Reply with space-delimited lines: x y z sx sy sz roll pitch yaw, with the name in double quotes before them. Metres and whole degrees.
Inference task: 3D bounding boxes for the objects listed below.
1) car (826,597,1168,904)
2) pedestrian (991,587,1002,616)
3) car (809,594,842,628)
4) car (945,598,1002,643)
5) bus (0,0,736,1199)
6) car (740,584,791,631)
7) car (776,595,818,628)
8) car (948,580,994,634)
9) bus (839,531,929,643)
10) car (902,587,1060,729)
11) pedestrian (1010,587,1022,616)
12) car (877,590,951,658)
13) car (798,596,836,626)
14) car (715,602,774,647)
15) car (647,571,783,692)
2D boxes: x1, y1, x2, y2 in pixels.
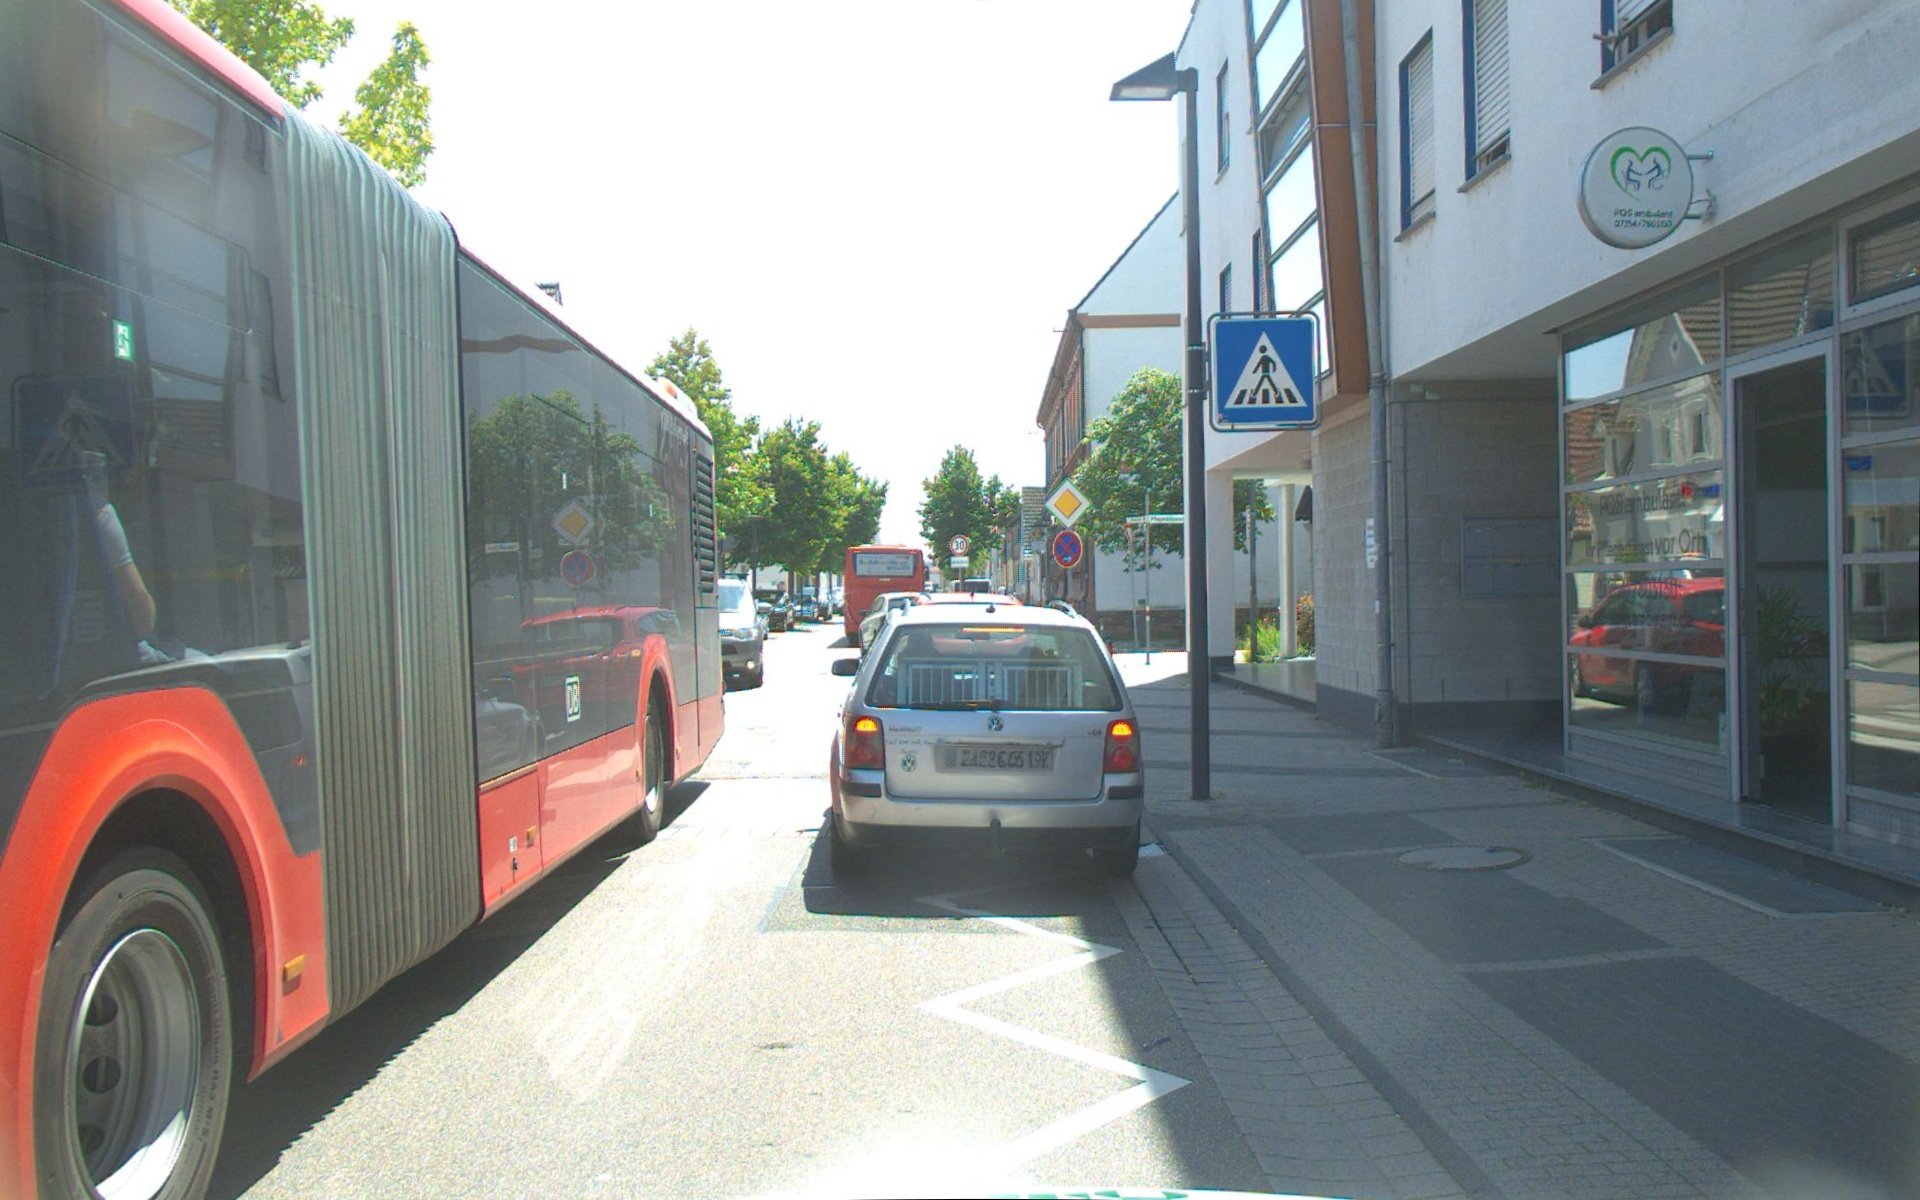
"car" 0.156 0.731 9.889 1.643 1.455 3.679 1 0 -1
"pedestrian" 2.225 0.077 99.873 0.594 1.696 0.789 -1 0 -2
"car" -8.348 0.644 103.190 1.775 2.030 3.999 -1 0 -1
"car" 0.401 0.636 52.978 1.684 1.332 3.625 -1 0 -1
"bus" -3.045 -0.085 4.972 2.615 3.178 17.802 -1 0 -1
"car" -8.135 0.312 69.354 1.729 1.870 3.788 -1 0 -1
"car" -8.273 0.560 84.212 1.775 1.586 3.999 -1 0 -1
"car" 0.437 0.276 68.476 1.751 2.118 3.625 -1 0 -1
"bus" -2.646 -0.393 56.517 2.685 3.356 12.696 -1 0 -3
"car" 0.195 0.609 19.322 1.643 1.455 3.679 -1 0 -1
"pedestrian" 3.378 0.091 99.871 0.594 1.696 0.789 -1 0 -2
"car" -0.999 0.510 37.337 1.561 1.455 3.679 0 0 0
"car" -7.810 0.578 90.812 1.775 1.586 3.999 -1 0 -1
"car" -7.539 0.831 58.059 1.572 1.463 4.064 -1 0 -1
"car" -3.857 0.453 26.595 1.641 1.746 4.231 -1 0 -2
